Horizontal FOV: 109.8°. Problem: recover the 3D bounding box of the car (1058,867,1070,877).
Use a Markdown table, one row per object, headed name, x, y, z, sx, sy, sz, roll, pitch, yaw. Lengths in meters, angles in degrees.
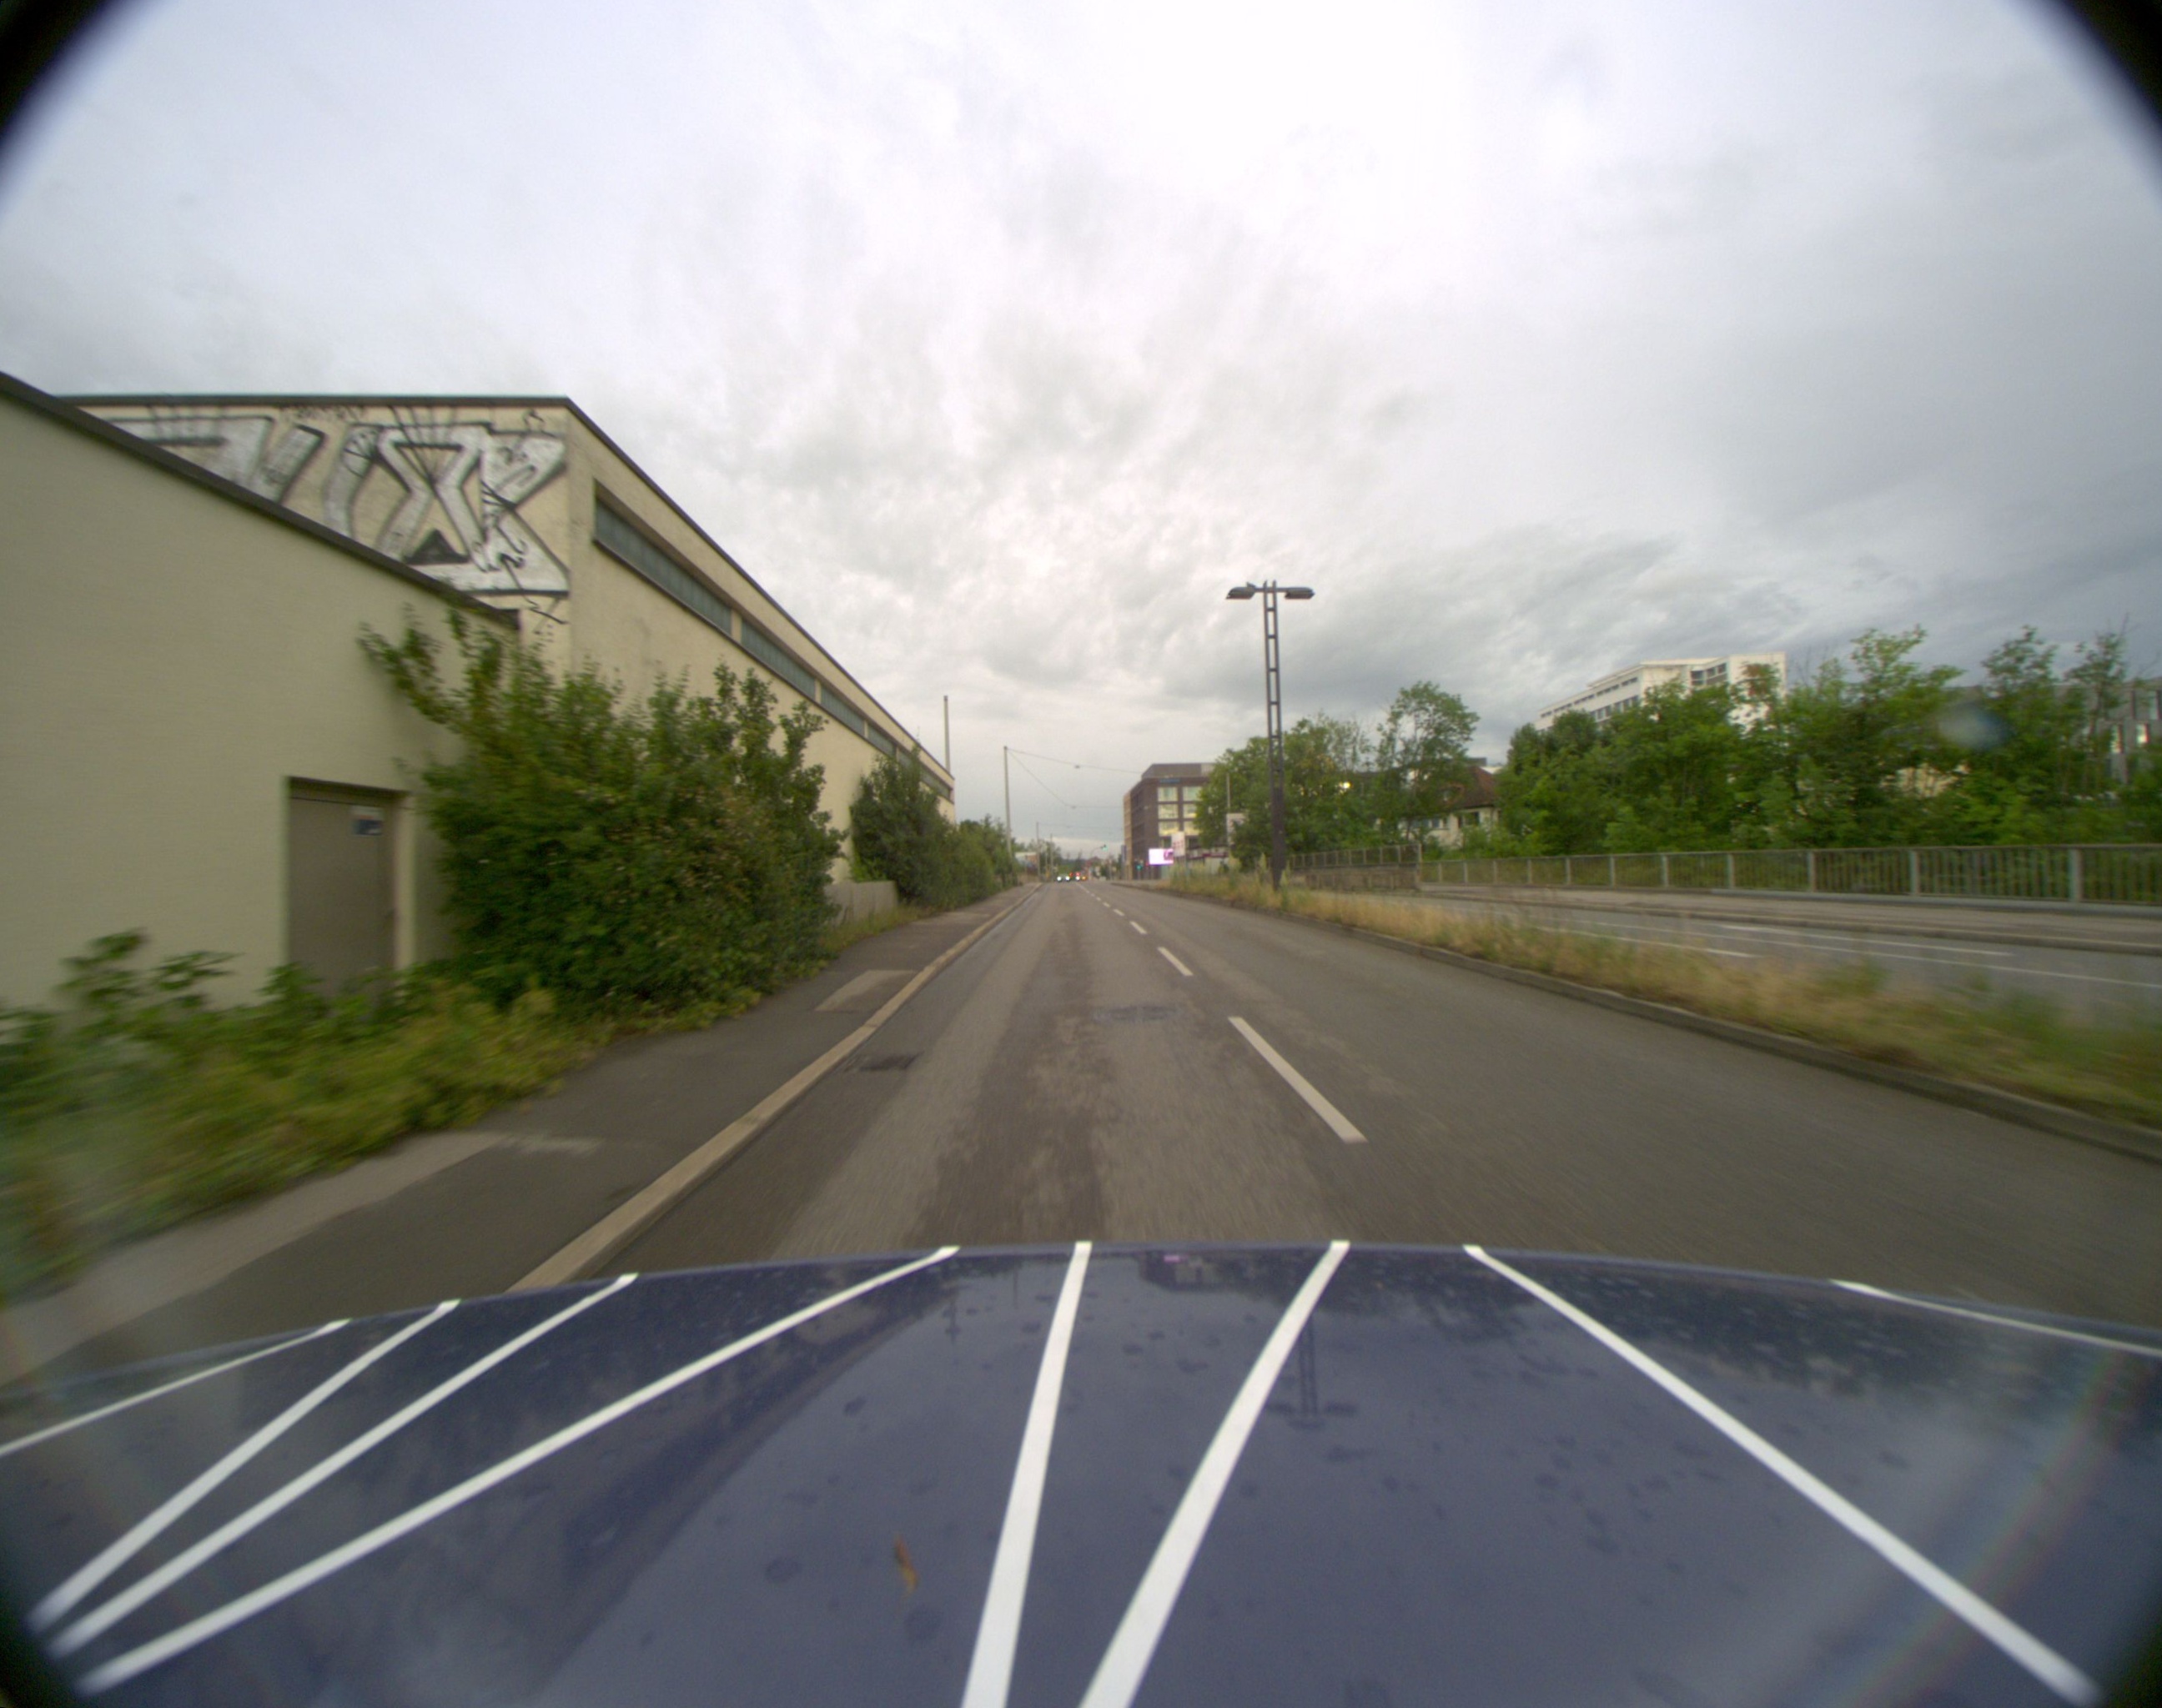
| name | x | y | z | sx | sy | sz | roll | pitch | yaw |
| --- | --- | --- | --- | --- | --- | --- | --- | --- | --- |
| car | -2.914 | 3.101 | 130.788 | 1.841 | 1.574 | 4.289 | -2 | 0 | 1 |
